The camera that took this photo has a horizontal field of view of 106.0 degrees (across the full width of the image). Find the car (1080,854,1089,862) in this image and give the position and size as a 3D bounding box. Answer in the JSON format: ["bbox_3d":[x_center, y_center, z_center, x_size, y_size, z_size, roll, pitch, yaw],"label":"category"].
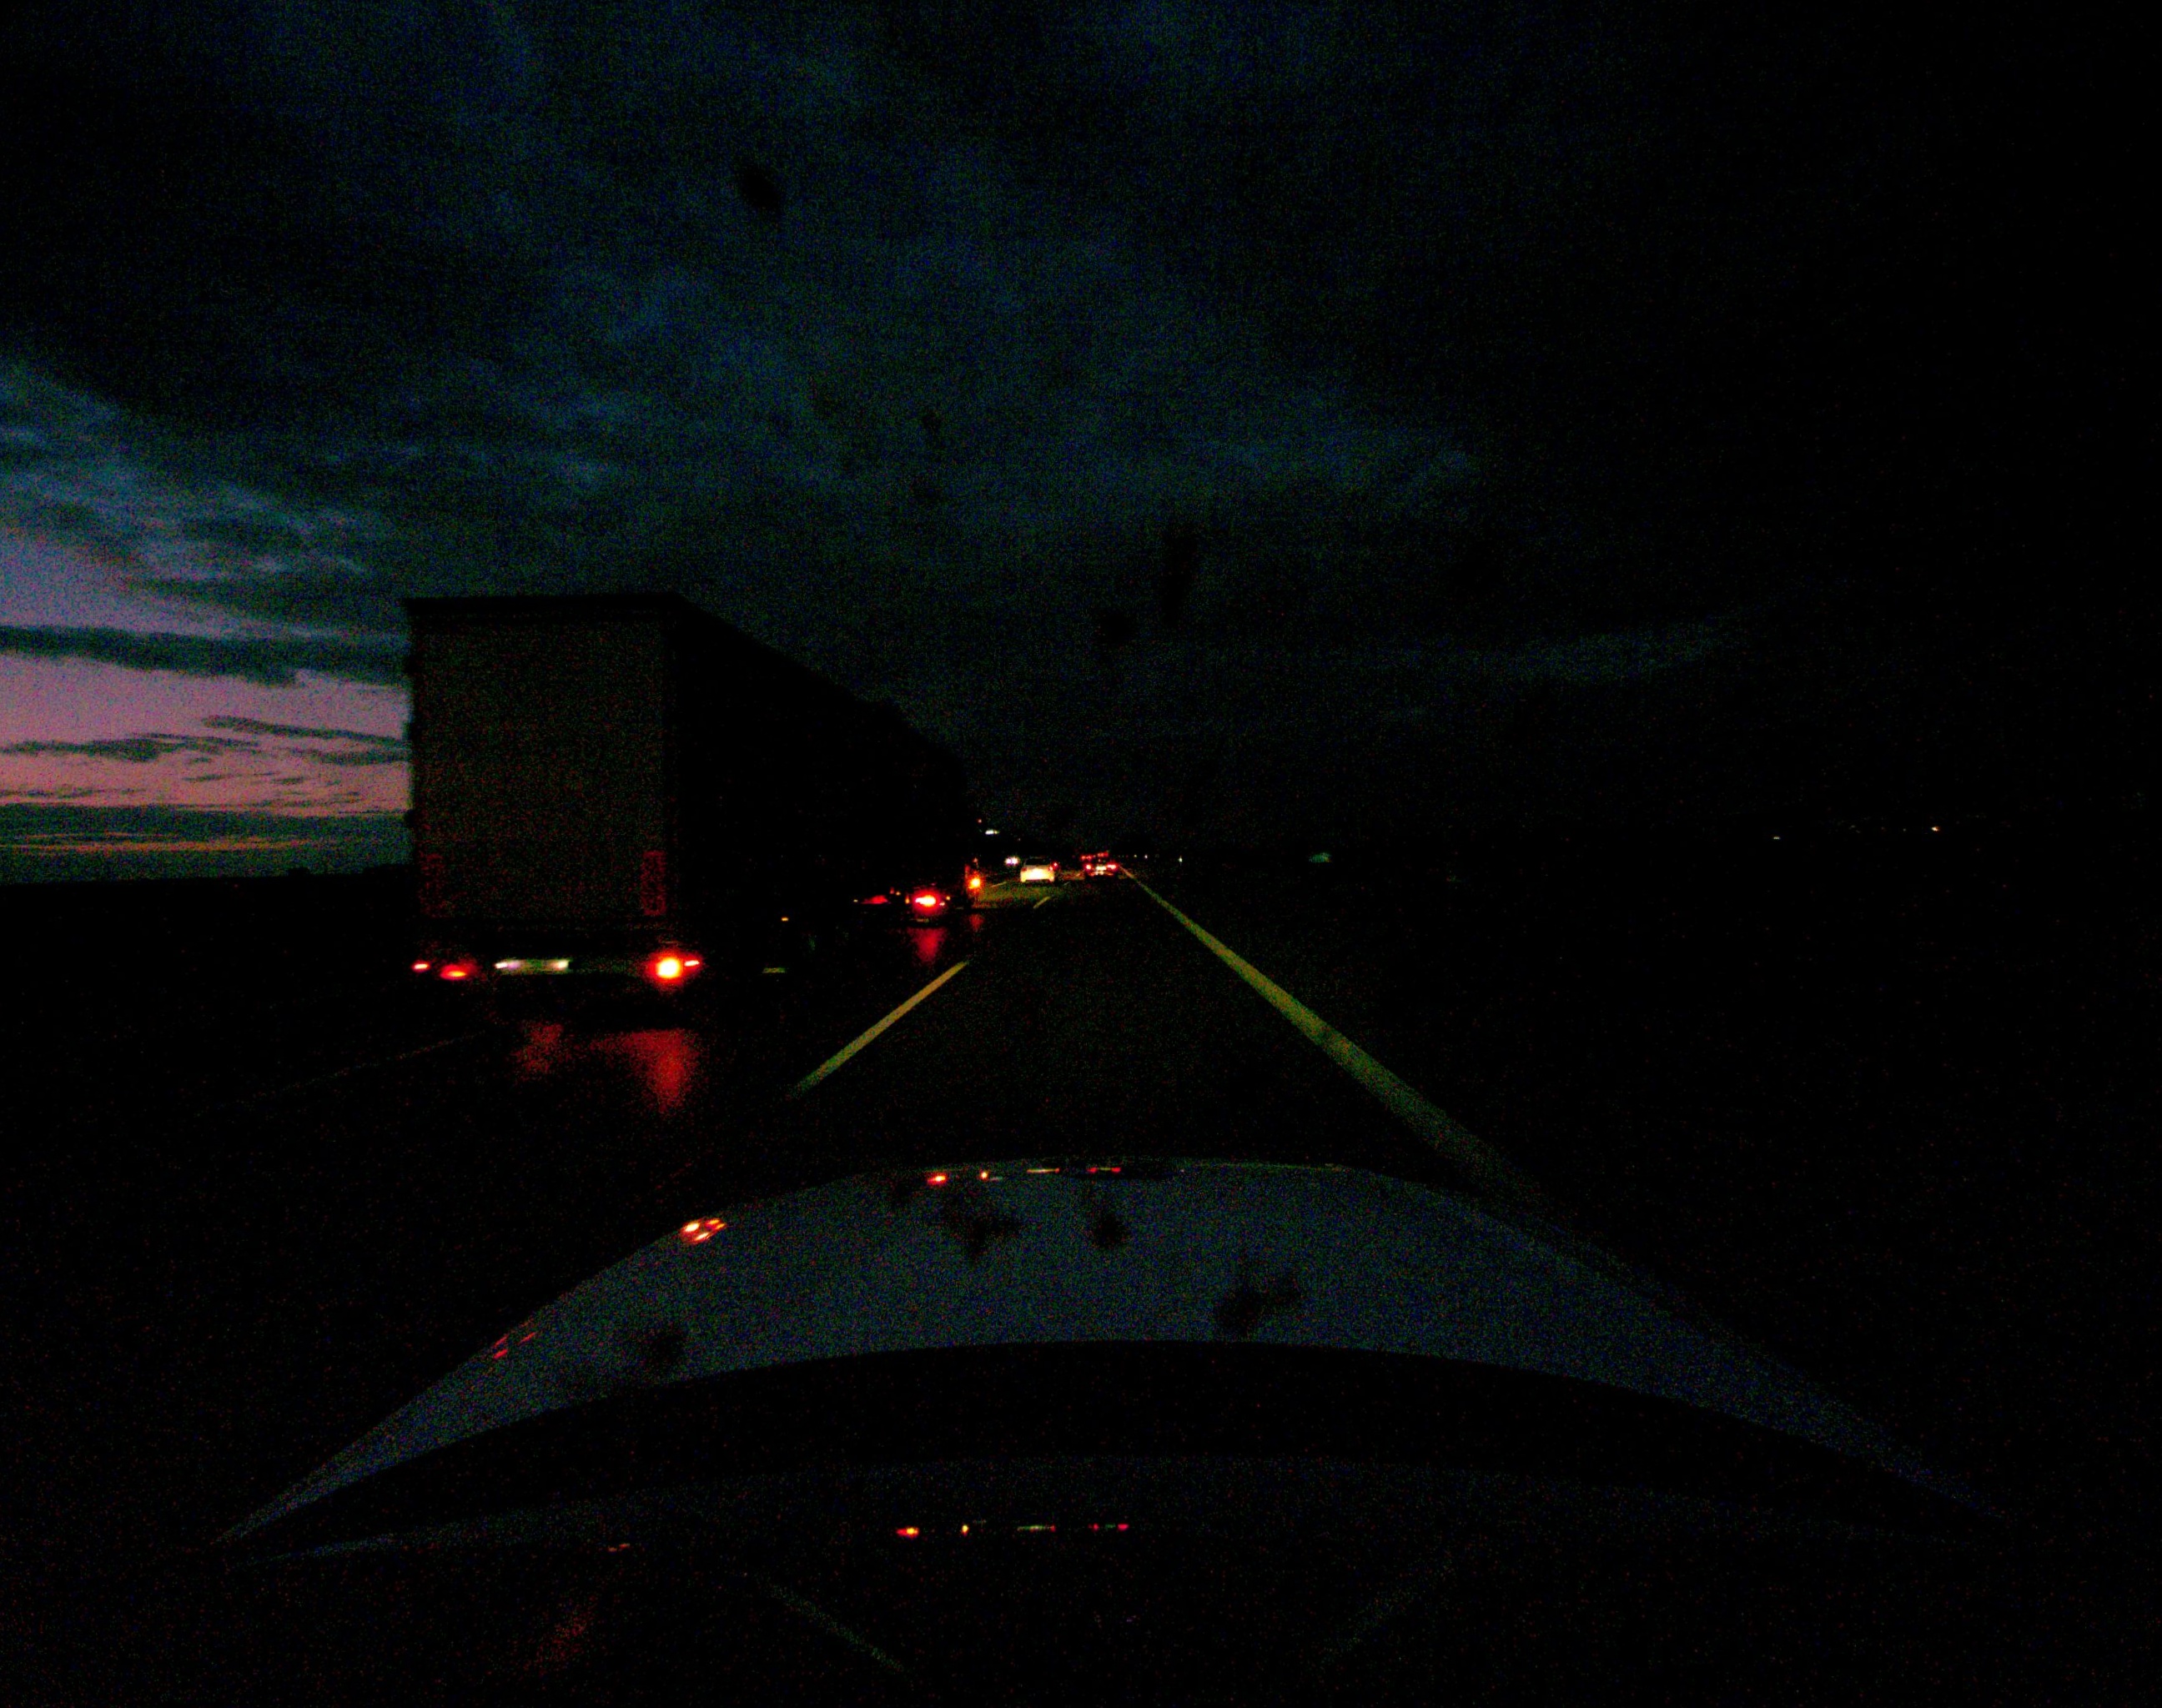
[{"bbox_3d":[0.742,0.758,166.190,1.873,1.552,4.000,0,-1,1],"label":"car"}]

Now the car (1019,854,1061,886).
[{"bbox_3d":[-2.040,0.766,41.377,1.737,1.525,4.416,0,-1,2],"label":"car"}]

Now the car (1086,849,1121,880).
[{"bbox_3d":[1.244,0.574,45.837,1.873,1.643,4.001,0,-1,1],"label":"car"}]

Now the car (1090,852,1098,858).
[{"bbox_3d":[4.090,0.245,253.745,2.191,1.879,4.001,0,-1,1],"label":"car"}]

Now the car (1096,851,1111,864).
[{"bbox_3d":[2.891,0.454,103.810,1.873,1.552,4.000,0,-1,1],"label":"car"}]

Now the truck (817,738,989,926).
[{"bbox_3d":[-4.286,-0.458,21.082,2.766,4.093,6.106,-2,-1,2],"label":"truck"}]

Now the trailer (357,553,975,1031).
[{"bbox_3d":[-4.592,-0.482,14.359,2.783,4.085,14.534,-2,-1,3],"label":"trailer"}]
